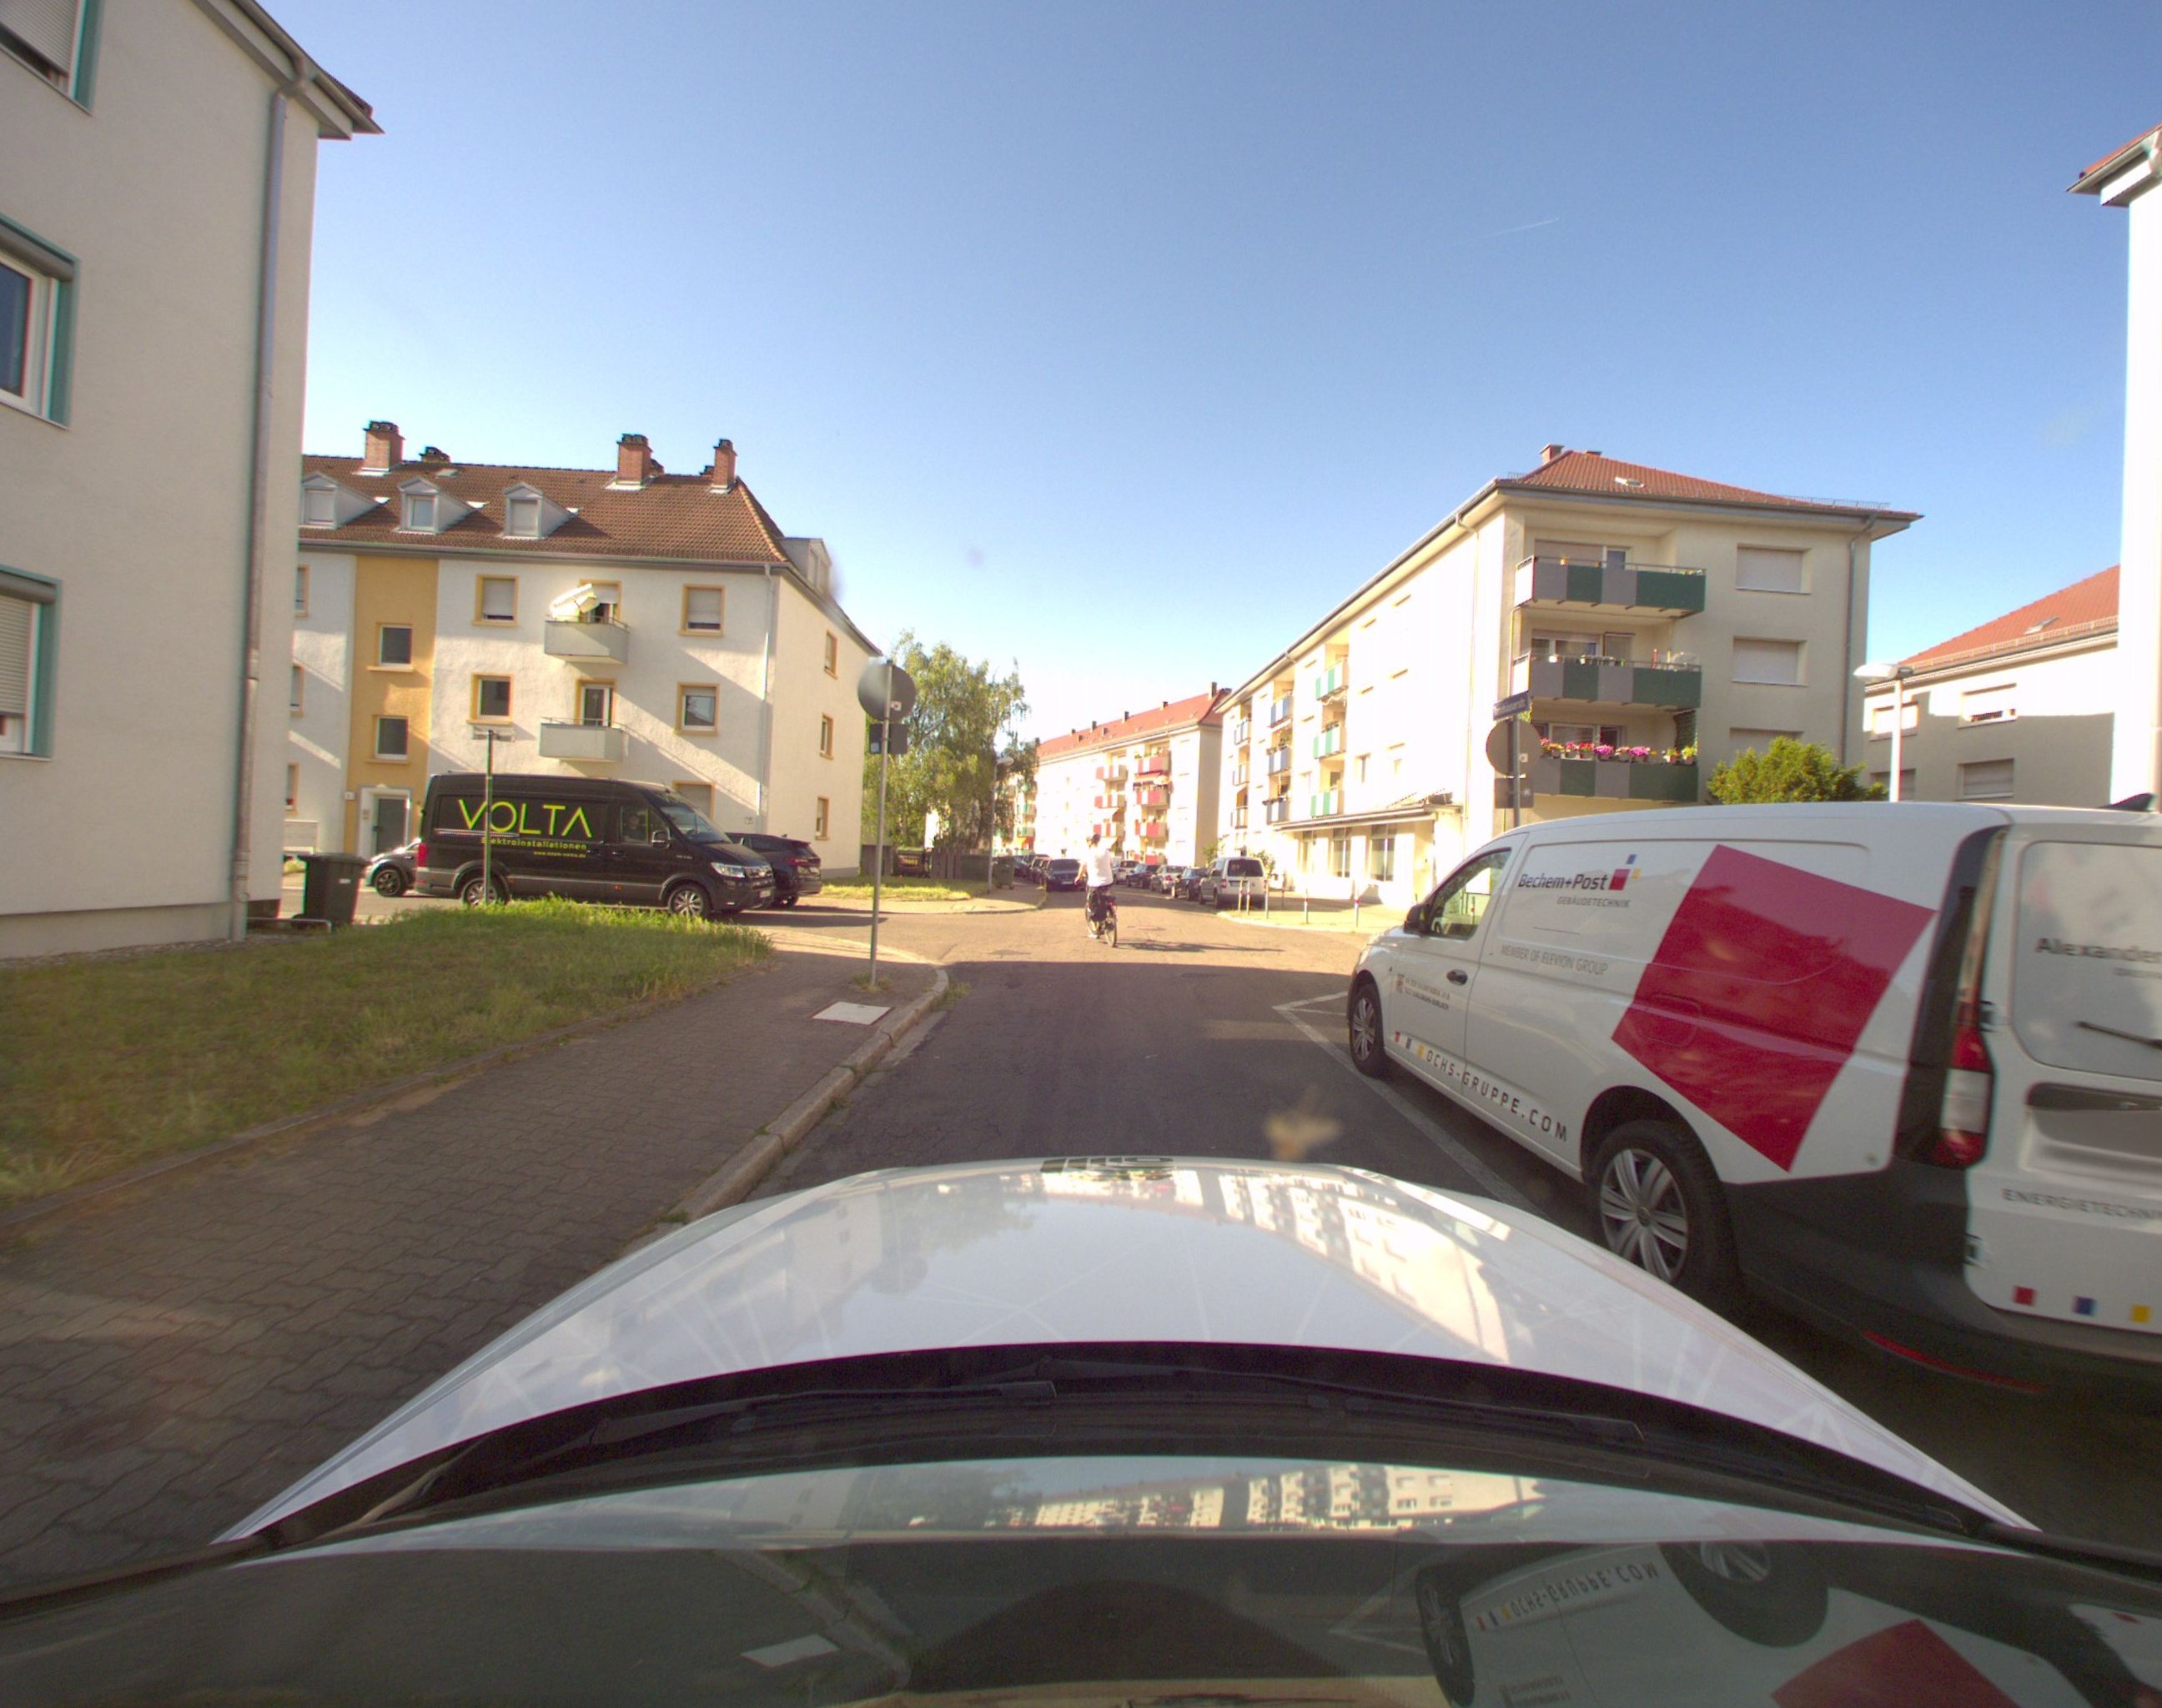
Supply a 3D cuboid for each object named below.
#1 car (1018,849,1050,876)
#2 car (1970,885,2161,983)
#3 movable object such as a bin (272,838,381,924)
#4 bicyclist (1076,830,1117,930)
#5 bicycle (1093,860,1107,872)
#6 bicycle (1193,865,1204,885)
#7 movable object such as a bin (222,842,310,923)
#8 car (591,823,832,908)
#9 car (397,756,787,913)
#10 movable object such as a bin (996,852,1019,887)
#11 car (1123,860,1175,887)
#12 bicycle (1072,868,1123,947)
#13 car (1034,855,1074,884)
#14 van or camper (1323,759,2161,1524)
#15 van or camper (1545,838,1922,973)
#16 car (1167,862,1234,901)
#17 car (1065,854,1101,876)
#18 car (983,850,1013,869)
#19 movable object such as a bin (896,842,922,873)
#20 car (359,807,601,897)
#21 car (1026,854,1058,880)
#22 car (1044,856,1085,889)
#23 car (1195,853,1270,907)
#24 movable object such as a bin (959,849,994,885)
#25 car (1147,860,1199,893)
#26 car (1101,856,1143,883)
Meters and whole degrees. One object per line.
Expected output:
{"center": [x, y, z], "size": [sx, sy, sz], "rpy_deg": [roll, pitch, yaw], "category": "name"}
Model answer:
{"center": [-3.135, 0.557, 54.134], "size": [1.556, 1.714, 4.320], "rpy_deg": [0, 0, -11], "category": "car"}
{"center": [18.529, 1.423, 14.545], "size": [3.463, 1.530, 1.680], "rpy_deg": [2, 0, 0], "category": "car"}
{"center": [-9.259, 0.321, 10.020], "size": [0.611, 0.992, 0.714], "rpy_deg": [3, 0, -1], "category": "movable object such as a bin"}
{"center": [0.244, 0.398, 13.410], "size": [0.595, 1.578, 0.906], "rpy_deg": [0, 2, -5], "category": "bicyclist"}
{"center": [1.720, 1.100, 75.496], "size": [0.619, 0.978, 1.883], "rpy_deg": [-1, 2, -21], "category": "bicycle"}
{"center": [7.604, 1.338, 52.646], "size": [0.512, 1.203, 1.762], "rpy_deg": [1, 0, 2], "category": "bicycle"}
{"center": [-9.934, 0.337, 9.944], "size": [0.496, 0.949, 0.532], "rpy_deg": [2, 0, 0], "category": "movable object such as a bin"}
{"center": [-8.063, 0.267, 18.079], "size": [4.473, 1.664, 1.719], "rpy_deg": [2, -2, 0], "category": "car"}
{"center": [-8.854, -0.333, 15.173], "size": [5.923, 2.545, 1.999], "rpy_deg": [2, 0, -1], "category": "car"}
{"center": [-3.015, 0.633, 33.363], "size": [0.773, 1.393, 1.416], "rpy_deg": [2, 0, -1], "category": "movable object such as a bin"}
{"center": [3.843, 1.089, 47.105], "size": [1.695, 1.431, 4.668], "rpy_deg": [1, -1, -12], "category": "car"}
{"center": [0.241, 0.839, 13.490], "size": [0.626, 1.115, 1.813], "rpy_deg": [3, 1, -4], "category": "bicycle"}
{"center": [-1.484, 0.770, 42.905], "size": [1.677, 1.442, 4.268], "rpy_deg": [0, 0, -8], "category": "car"}
{"center": [2.846, 0.686, 4.259], "size": [1.786, 1.747, 4.736], "rpy_deg": [2, 0, 1], "category": "van or camper"}
{"center": [11.572, 0.853, 14.741], "size": [5.105, 2.013, 2.001], "rpy_deg": [3, 2, 1], "category": "van or camper"}
{"center": [5.053, 1.138, 34.972], "size": [1.676, 1.407, 4.535], "rpy_deg": [3, 0, -7], "category": "car"}
{"center": [0.140, 0.888, 66.227], "size": [1.770, 1.635, 4.017], "rpy_deg": [1, 1, -18], "category": "car"}
{"center": [-7.022, 0.438, 68.877], "size": [1.698, 1.389, 4.132], "rpy_deg": [2, 0, -18], "category": "car"}
{"center": [-8.201, 0.155, 38.873], "size": [1.058, 1.435, 1.002], "rpy_deg": [1, 0, -2], "category": "movable object such as a bin"}
{"center": [-13.222, -0.022, 18.085], "size": [3.977, 1.789, 1.719], "rpy_deg": [2, -2, 0], "category": "car"}
{"center": [-2.320, 0.752, 48.005], "size": [1.554, 1.442, 3.957], "rpy_deg": [0, 0, -8], "category": "car"}
{"center": [-0.818, 0.806, 37.828], "size": [1.675, 1.453, 4.614], "rpy_deg": [0, 0, -4], "category": "car"}
{"center": [5.404, 0.865, 29.505], "size": [1.743, 1.824, 4.126], "rpy_deg": [0, 0, -4], "category": "car"}
{"center": [-4.313, 0.537, 33.638], "size": [1.215, 1.380, 0.768], "rpy_deg": [3, -1, 3], "category": "movable object such as a bin"}
{"center": [4.598, 1.108, 41.297], "size": [1.675, 1.447, 4.715], "rpy_deg": [3, 0, -5], "category": "car"}
{"center": [2.660, 1.014, 53.987], "size": [1.695, 1.656, 4.372], "rpy_deg": [1, -1, -12], "category": "car"}
